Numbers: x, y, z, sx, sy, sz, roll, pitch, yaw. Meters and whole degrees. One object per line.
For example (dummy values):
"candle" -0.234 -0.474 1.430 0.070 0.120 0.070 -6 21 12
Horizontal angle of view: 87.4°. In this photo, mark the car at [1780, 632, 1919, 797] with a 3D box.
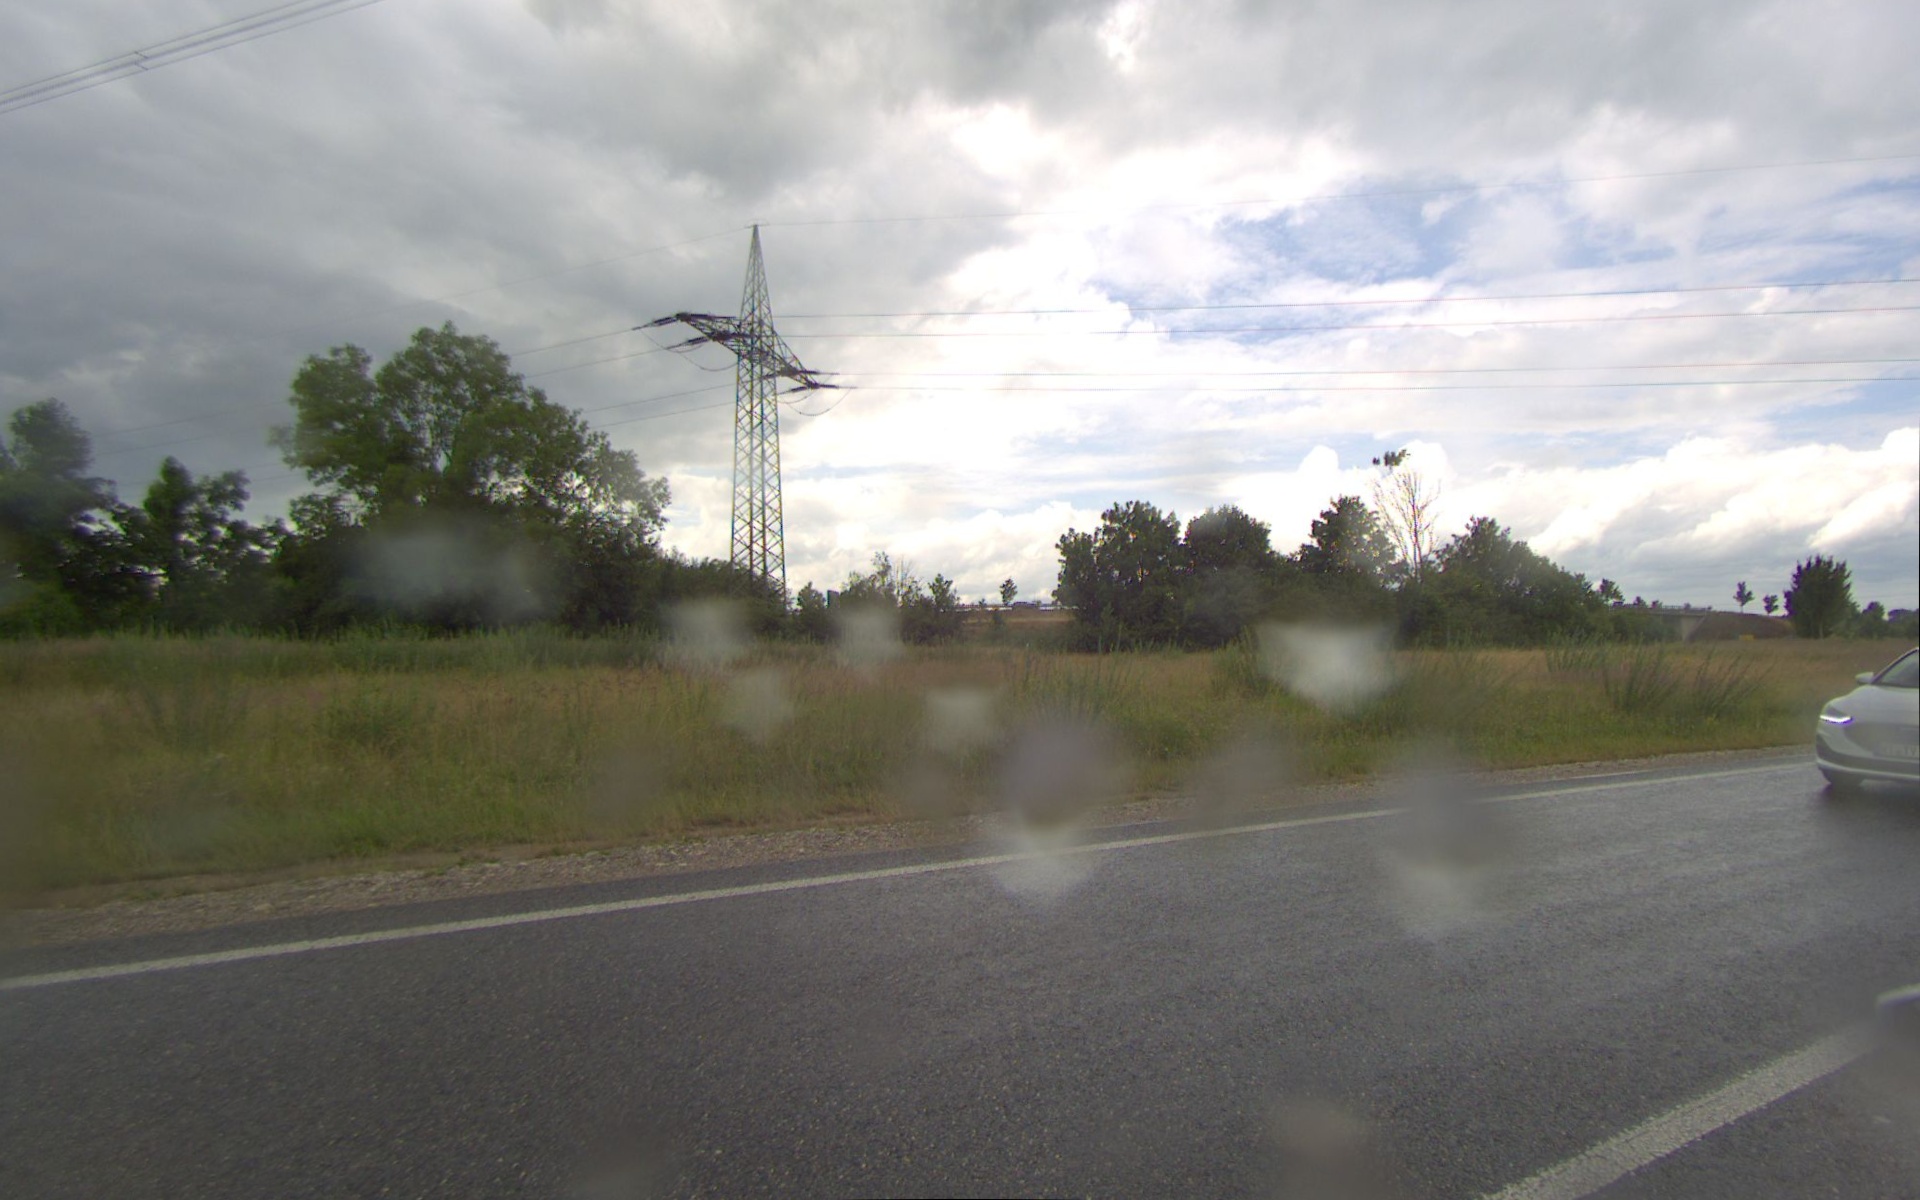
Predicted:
"car" 10.055 1.059 9.715 4.234 1.406 1.837 2 -2 -28
